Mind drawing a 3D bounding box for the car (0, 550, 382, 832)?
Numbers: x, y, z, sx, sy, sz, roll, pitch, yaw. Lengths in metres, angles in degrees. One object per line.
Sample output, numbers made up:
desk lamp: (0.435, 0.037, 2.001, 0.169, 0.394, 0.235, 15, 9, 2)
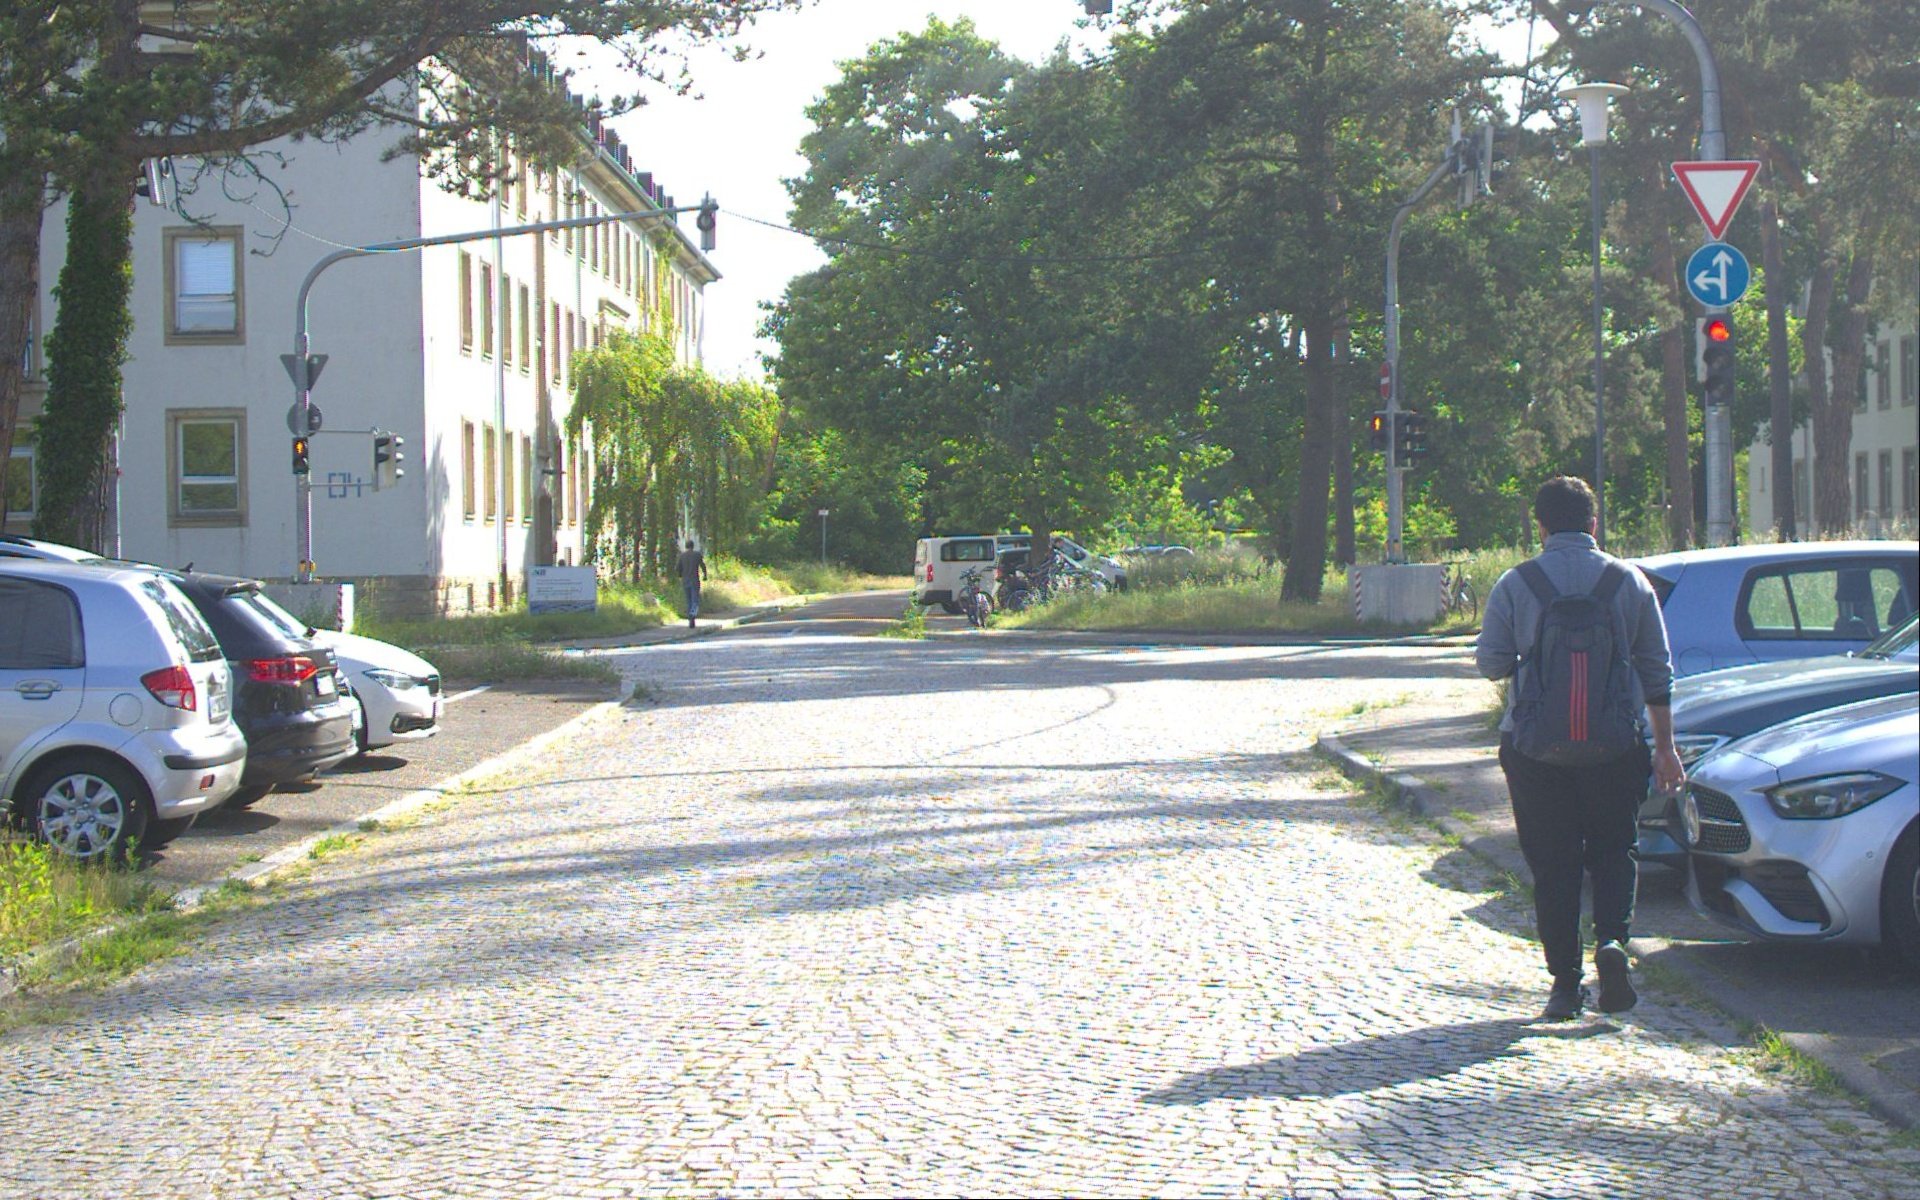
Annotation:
car: (-5.445, 0.451, 19.699, 3.937, 1.440, 1.691, 3, 1, 0)

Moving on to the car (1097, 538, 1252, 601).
car: (5.508, -0.801, 88.554, 3.743, 1.574, 1.742, 0, 1, -7)

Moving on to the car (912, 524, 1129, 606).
car: (1.468, -0.868, 84.623, 5.065, 1.911, 2.001, -1, 1, -9)

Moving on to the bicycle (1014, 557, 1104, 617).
bicycle: (1.958, -0.255, 67.946, 1.727, 1.160, 0.561, -1, 1, -3)

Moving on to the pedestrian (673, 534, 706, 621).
pedestrian: (-5.480, -0.465, 69.694, 0.607, 1.746, 0.630, 0, 1, 0)

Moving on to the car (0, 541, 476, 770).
car: (-5.712, 0.366, 25.089, 3.988, 1.491, 1.772, 2, 1, 5)

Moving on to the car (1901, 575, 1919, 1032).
car: (5.005, 0.606, 10.131, 3.979, 1.443, 1.655, -1, 1, 0)

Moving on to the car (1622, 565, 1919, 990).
car: (4.803, 0.535, 12.503, 4.399, 1.384, 1.789, -2, 1, 0)

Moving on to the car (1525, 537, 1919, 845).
car: (4.907, 0.402, 17.730, 3.673, 1.438, 1.665, -2, 1, 1)

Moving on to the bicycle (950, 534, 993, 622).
bicycle: (0.208, -0.416, 63.282, 0.753, 1.575, 2.537, 0, 1, 0)

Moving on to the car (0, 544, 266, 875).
car: (-5.454, 0.468, 17.035, 3.685, 1.522, 1.699, 2, 1, -2)

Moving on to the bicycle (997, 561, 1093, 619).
bicycle: (1.647, -0.198, 66.725, 1.834, 1.108, 0.495, -1, 1, -3)

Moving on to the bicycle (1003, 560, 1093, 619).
bicycle: (1.718, -0.206, 67.269, 1.727, 1.108, 0.484, -1, 1, -3)

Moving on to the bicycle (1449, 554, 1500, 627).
bicycle: (8.201, -0.160, 54.731, 0.722, 1.111, 2.582, -1, 1, 10)

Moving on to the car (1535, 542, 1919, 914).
car: (5.056, 0.443, 15.197, 4.619, 1.450, 1.870, -3, 1, -2)

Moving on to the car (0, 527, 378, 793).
car: (-5.897, 0.341, 22.473, 3.879, 1.610, 1.661, 2, 1, 0)

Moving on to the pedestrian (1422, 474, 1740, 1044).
pedestrian: (1.984, 0.488, 11.095, 0.753, 1.719, 0.828, 4, 1, 0)

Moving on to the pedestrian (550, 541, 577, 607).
pedestrian: (-9.321, -0.620, 80.891, 0.606, 1.554, 0.545, -1, 1, -6)
